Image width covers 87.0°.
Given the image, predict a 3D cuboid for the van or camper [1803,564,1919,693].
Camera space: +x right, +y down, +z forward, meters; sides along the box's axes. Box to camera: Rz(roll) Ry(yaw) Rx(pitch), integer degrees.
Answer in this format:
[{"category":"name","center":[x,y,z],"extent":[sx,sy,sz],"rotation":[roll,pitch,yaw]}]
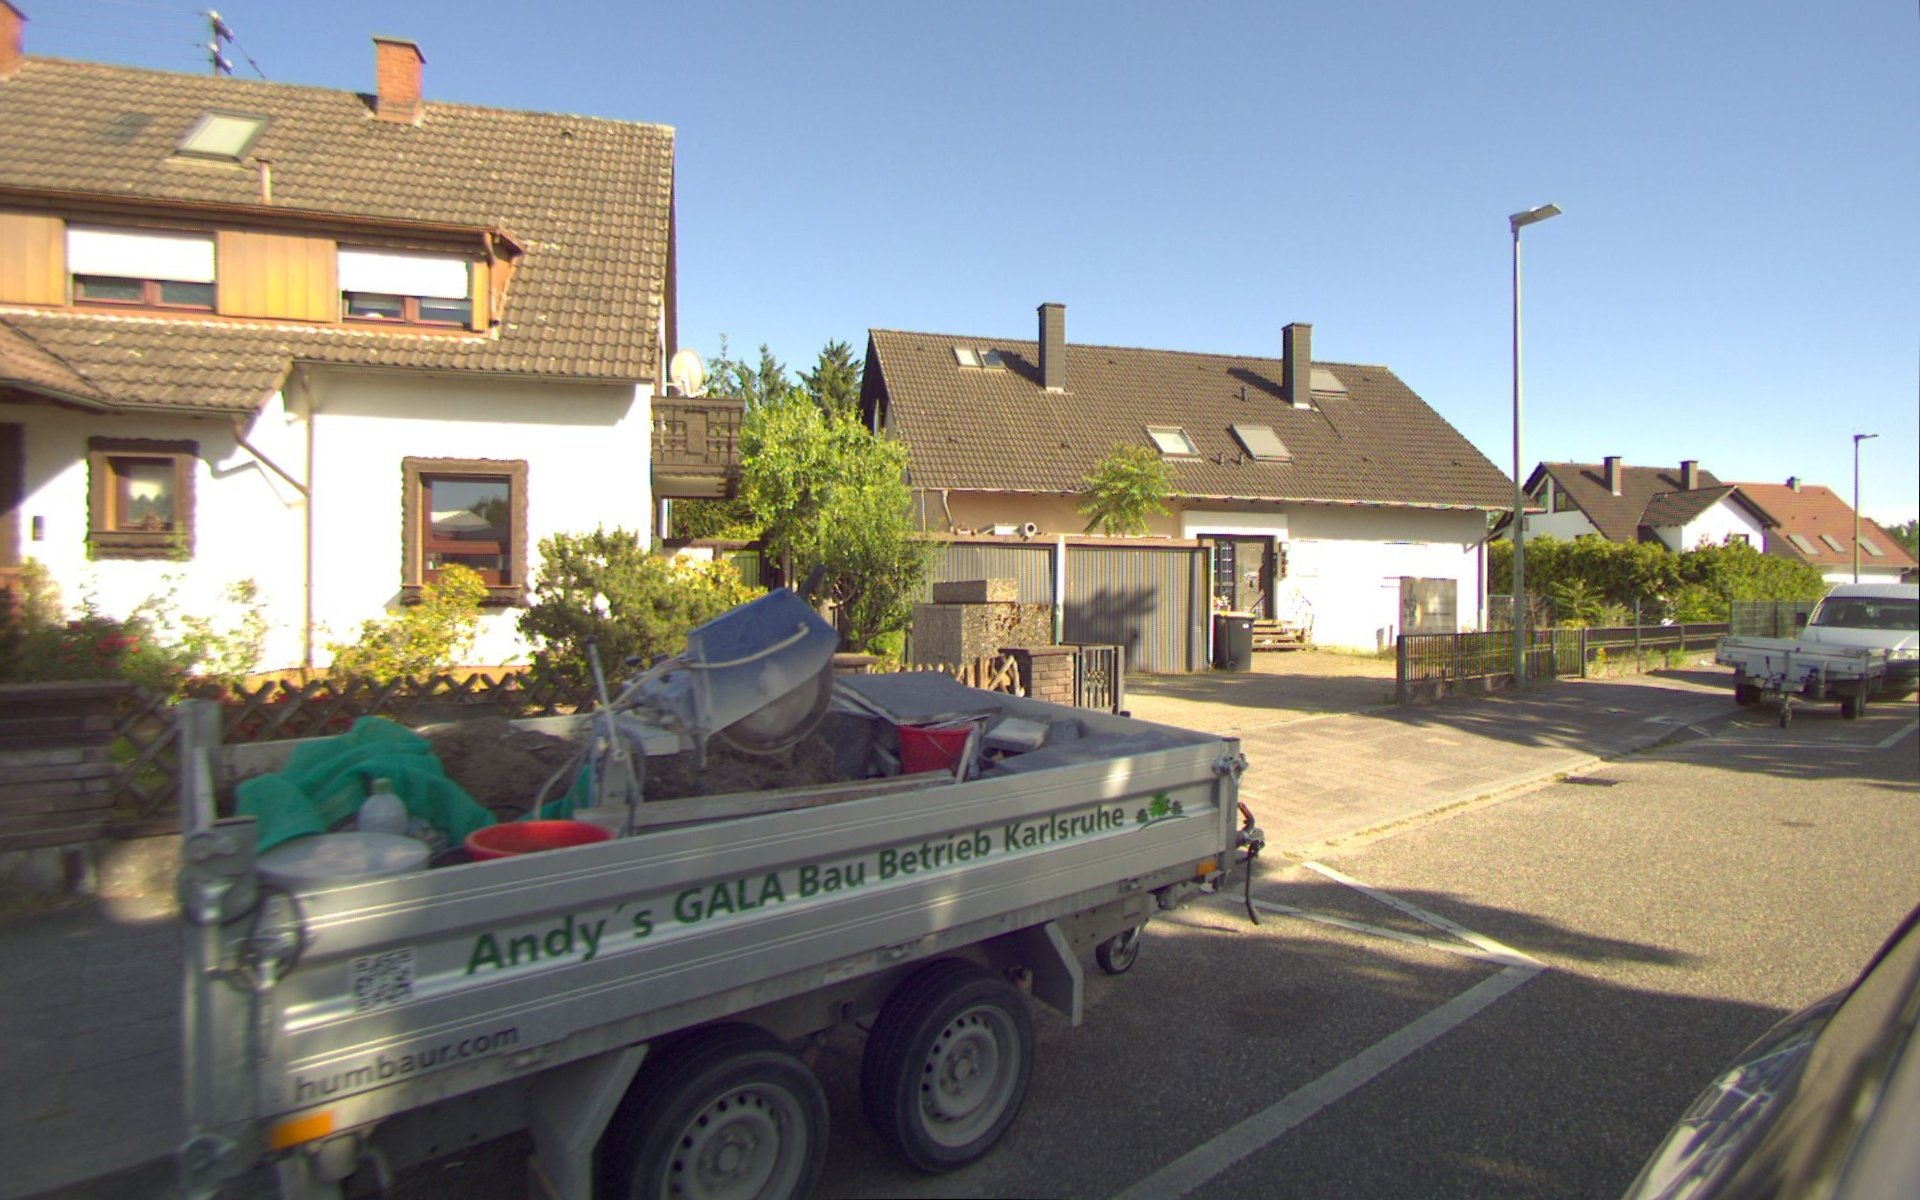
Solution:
[{"category":"van or camper","center":[15.433,0.415,16.703],"extent":[4.107,1.914,1.721],"rotation":[0,0,-41]}]

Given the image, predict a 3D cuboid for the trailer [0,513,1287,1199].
[{"category":"trailer","center":[-0.648,0.653,2.954],"extent":[3.141,1.557,1.631],"rotation":[0,0,-39]}]

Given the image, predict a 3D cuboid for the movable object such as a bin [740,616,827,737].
[{"category":"movable object such as a bin","center":[-1.642,0.686,9.373],"extent":[0.737,1.066,0.526],"rotation":[0,0,-15]}]

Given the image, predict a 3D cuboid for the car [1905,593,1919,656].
[{"category":"car","center":[25.091,0.594,25.350],"extent":[3.839,1.524,1.721],"rotation":[0,0,-42]}]

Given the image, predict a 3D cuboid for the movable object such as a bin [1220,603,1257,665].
[{"category":"movable object such as a bin","center":[5.034,0.607,18.304],"extent":[0.448,1.110,0.506],"rotation":[0,0,-13]}]

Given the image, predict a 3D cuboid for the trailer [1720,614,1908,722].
[{"category":"trailer","center":[11.699,0.844,13.815],"extent":[3.092,1.233,1.629],"rotation":[0,0,-43]}]

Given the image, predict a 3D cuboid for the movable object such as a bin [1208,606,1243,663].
[{"category":"movable object such as a bin","center":[4.939,0.640,18.826],"extent":[0.448,1.039,0.506],"rotation":[0,0,-13]}]

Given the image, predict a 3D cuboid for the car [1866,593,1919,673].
[{"category":"car","center":[19.839,0.628,20.613],"extent":[3.502,1.524,1.721],"rotation":[0,0,-42]}]
